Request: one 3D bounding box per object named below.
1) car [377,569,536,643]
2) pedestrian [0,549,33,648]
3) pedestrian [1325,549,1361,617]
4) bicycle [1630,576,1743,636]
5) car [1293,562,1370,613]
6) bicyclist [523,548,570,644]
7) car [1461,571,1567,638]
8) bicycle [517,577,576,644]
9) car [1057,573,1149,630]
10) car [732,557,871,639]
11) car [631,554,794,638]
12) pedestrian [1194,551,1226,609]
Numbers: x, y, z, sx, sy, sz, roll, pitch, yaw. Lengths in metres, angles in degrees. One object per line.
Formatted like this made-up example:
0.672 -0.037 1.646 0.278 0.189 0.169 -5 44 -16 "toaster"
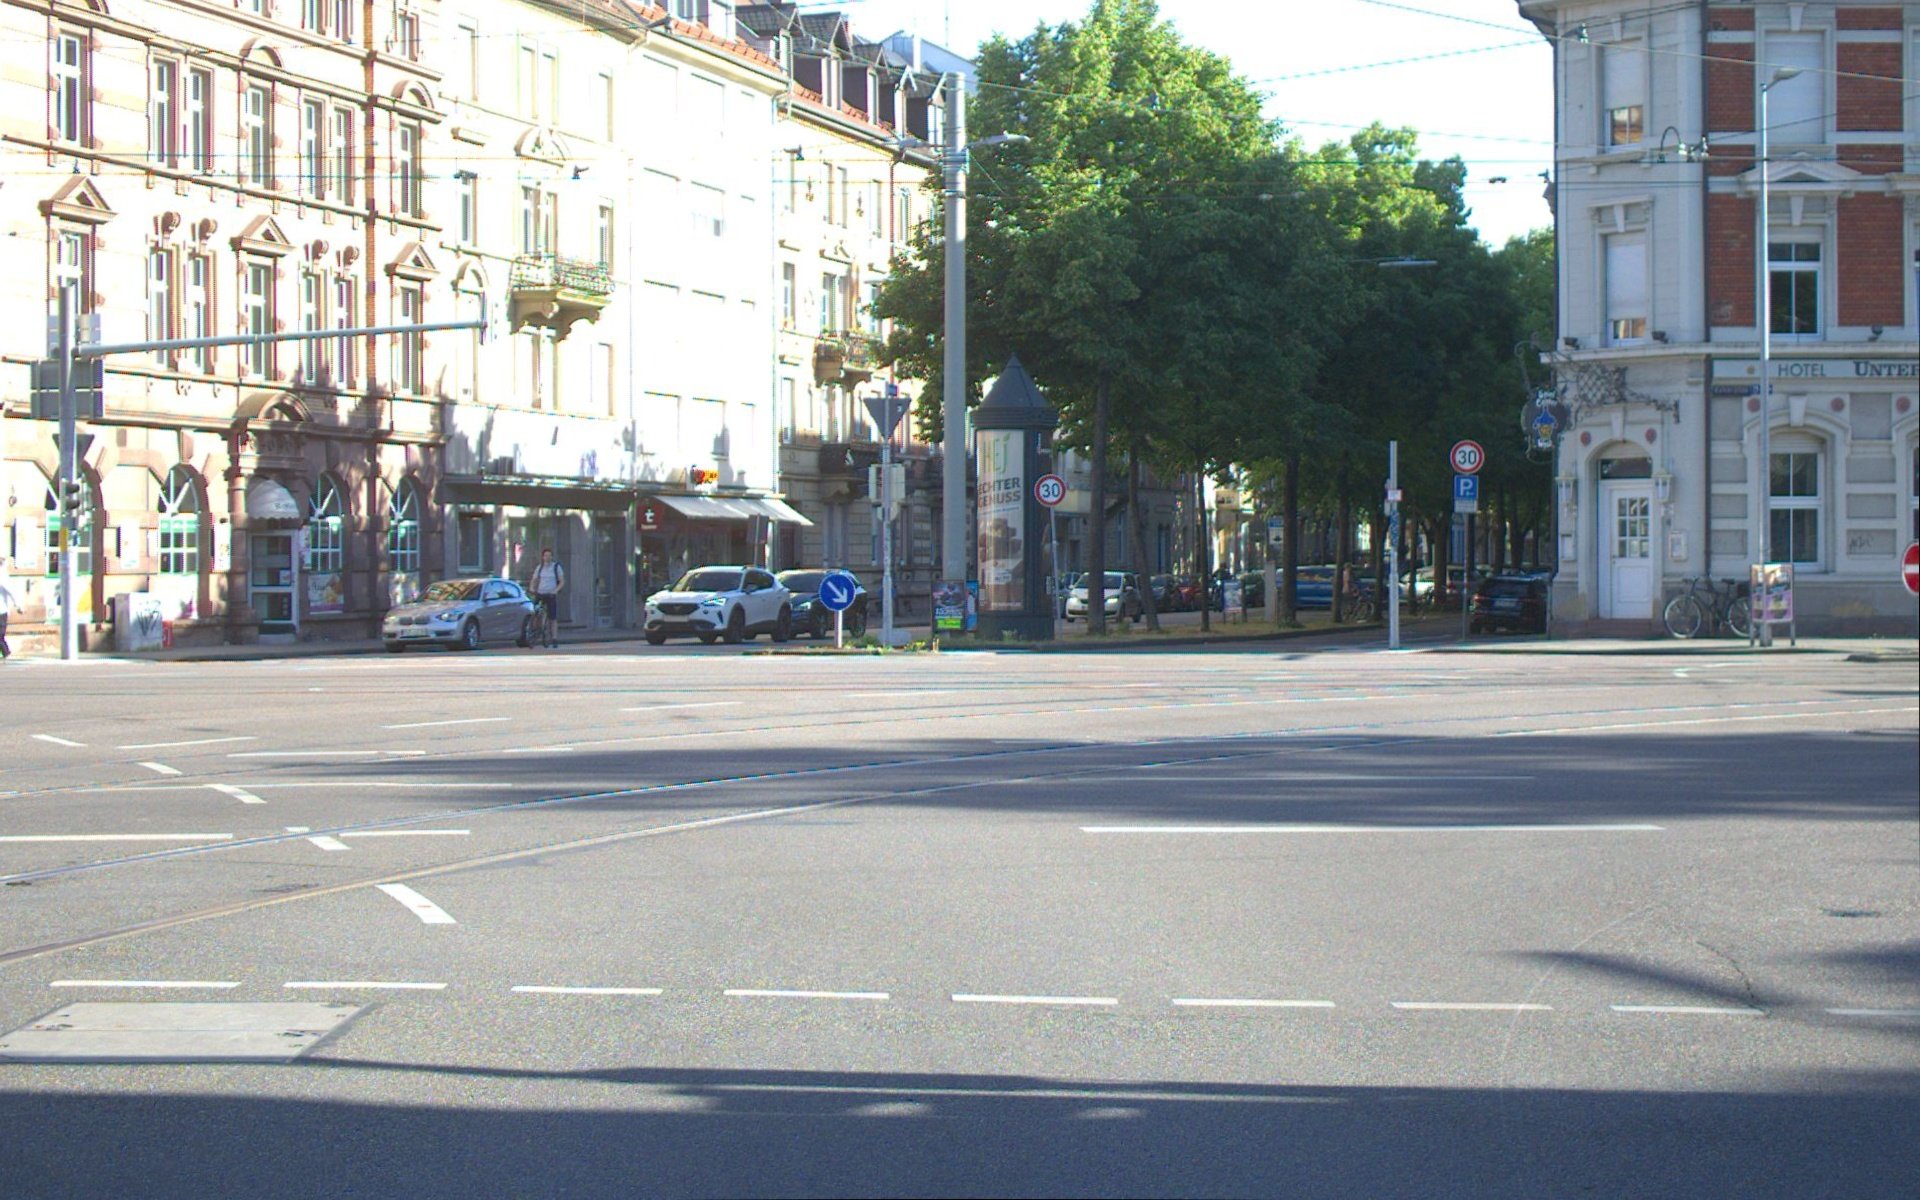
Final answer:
-9.784 0.102 67.016 1.661 1.369 3.889 1 1 15 "car"
-15.946 -0.028 57.312 0.568 1.636 0.792 1 0 23 "pedestrian"
11.385 -0.511 102.246 0.961 2.007 0.918 1 0 1 "pedestrian"
12.071 0.101 57.122 1.804 0.959 0.603 1 0 14 "bicycle"
12.624 -0.427 116.613 1.995 1.678 3.997 1 1 15 "car"
-7.838 -0.079 65.136 0.565 1.797 0.913 1 0 15 "bicyclist"
13.320 0.100 82.506 1.758 1.550 3.996 1 1 20 "car"
-7.834 0.190 65.131 0.565 1.250 1.556 1 1 14 "bicycle"
4.151 0.029 99.081 1.804 1.570 3.888 1 1 15 "car"
-3.359 -0.063 73.616 1.826 1.679 3.872 1 1 16 "car"
-4.812 -0.093 67.358 1.804 1.579 4.156 1 1 17 "car"
8.714 -0.695 119.895 0.944 2.007 0.826 1 0 14 "pedestrian"
